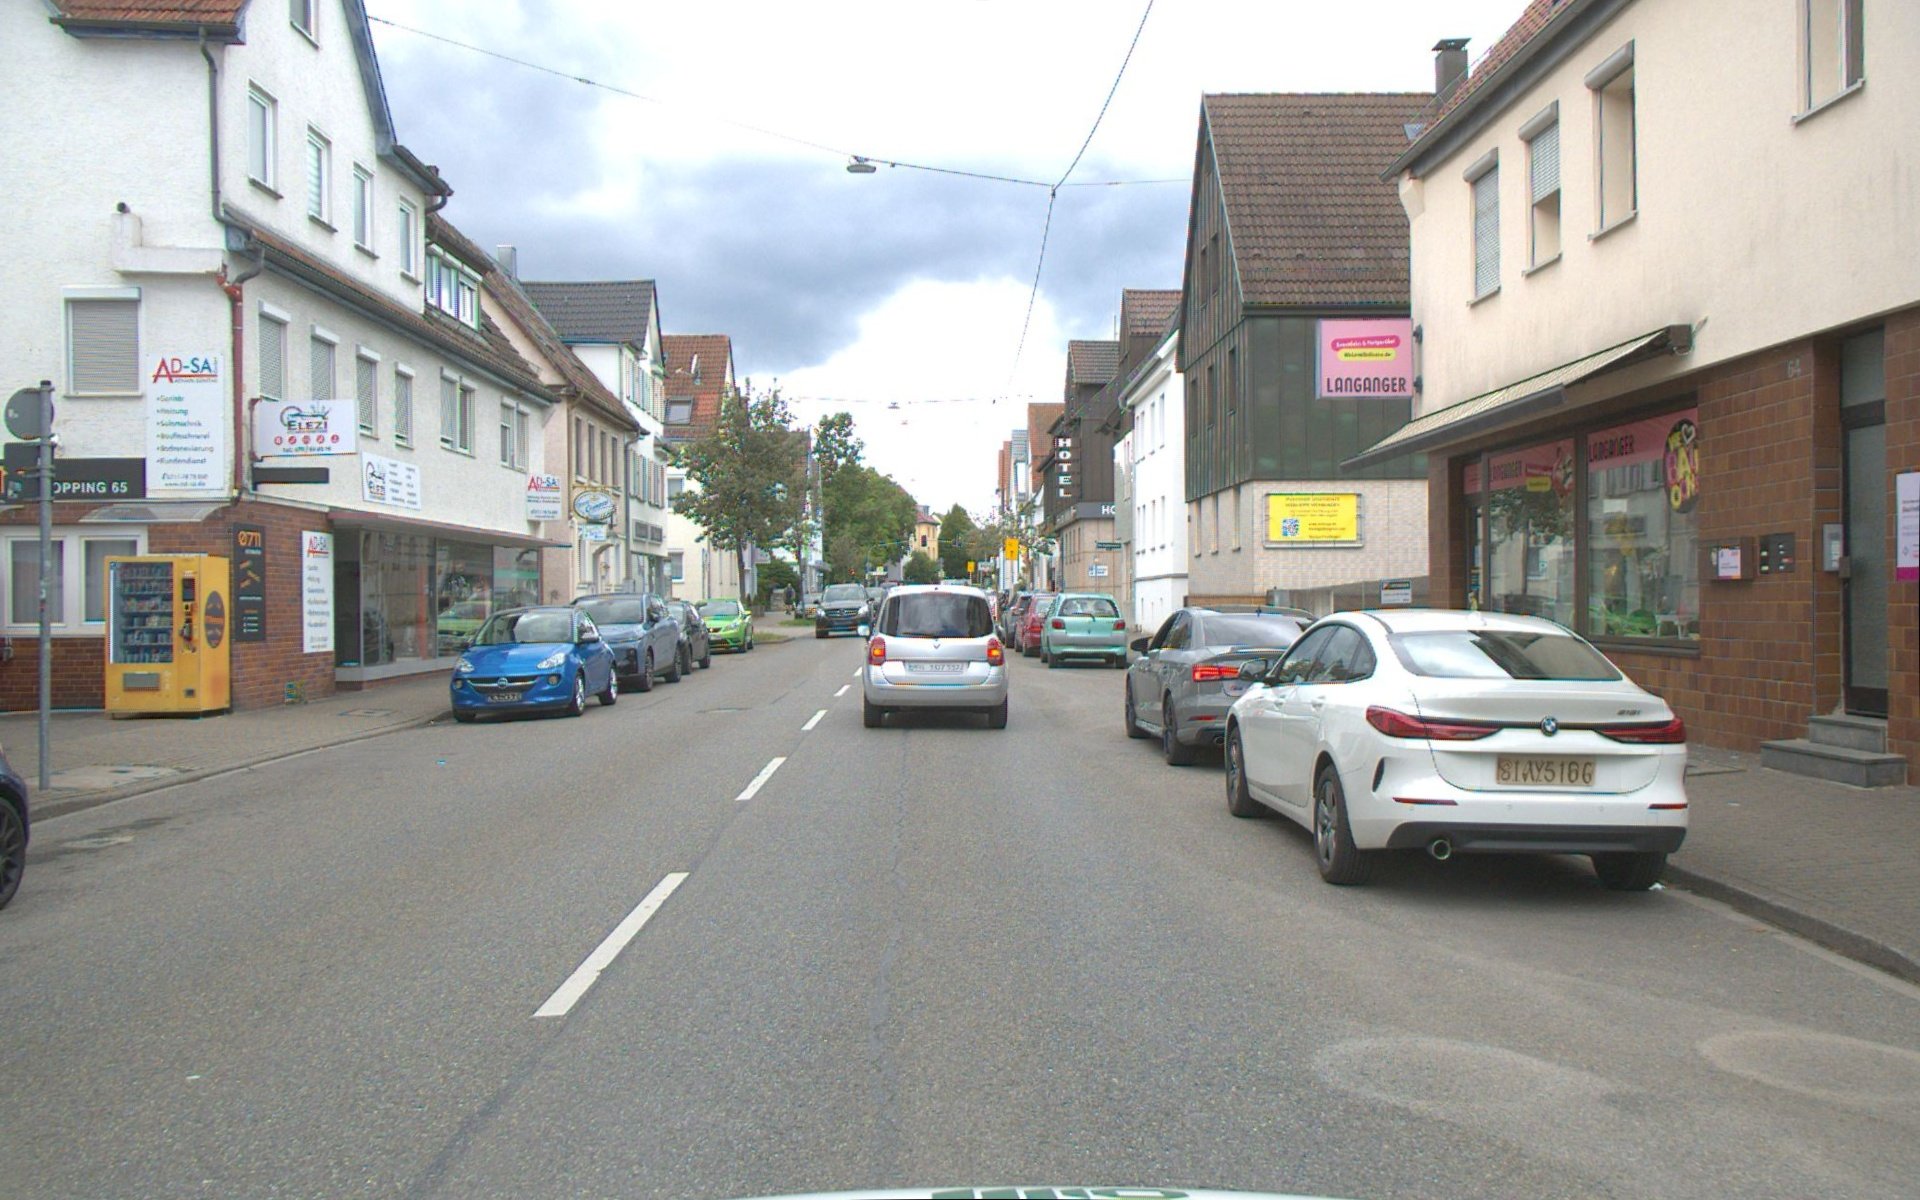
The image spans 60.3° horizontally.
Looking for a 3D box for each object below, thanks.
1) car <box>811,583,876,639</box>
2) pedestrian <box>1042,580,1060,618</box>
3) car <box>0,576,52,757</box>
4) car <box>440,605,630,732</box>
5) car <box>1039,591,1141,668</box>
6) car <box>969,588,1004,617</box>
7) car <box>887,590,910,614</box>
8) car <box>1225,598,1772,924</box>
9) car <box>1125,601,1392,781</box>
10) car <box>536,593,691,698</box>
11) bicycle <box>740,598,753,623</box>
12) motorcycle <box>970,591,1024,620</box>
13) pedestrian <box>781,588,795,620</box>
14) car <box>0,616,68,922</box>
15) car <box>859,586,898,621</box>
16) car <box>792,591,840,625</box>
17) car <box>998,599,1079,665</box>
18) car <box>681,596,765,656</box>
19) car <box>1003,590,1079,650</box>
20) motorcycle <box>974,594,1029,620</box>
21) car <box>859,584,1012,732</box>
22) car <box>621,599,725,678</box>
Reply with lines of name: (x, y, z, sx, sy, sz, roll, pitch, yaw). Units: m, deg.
car: (-3.949, 0.349, 56.586, 1.862, 1.767, 4.365, -2, 0, 0)
pedestrian: (4.672, -0.048, 85.101, 0.839, 1.961, 0.899, 0, 0, -1)
car: (-11.126, 0.627, 15.771, 3.902, 1.732, 2.002, 0, 0, 8)
car: (-5.832, 0.886, 23.121, 1.648, 1.525, 3.774, -2, 0, 0)
car: (2.686, 0.579, 34.855, 1.794, 1.524, 3.993, 1, 0, 0)
car: (1.372, 0.131, 87.746, 1.666, 1.492, 4.237, 0, 0, -2)
car: (-5.408, 0.166, 145.228, 1.913, 2.049, 3.999, 0, 0, -1)
car: (2.830, 0.741, 9.784, 1.794, 1.471, 4.331, 1, 0, 0)
car: (2.712, 0.761, 15.914, 1.794, 1.471, 4.109, 1, 0, 0)
car: (-5.943, 0.722, 28.873, 1.766, 1.627, 4.304, -2, 0, 0)
bicycle: (-9.826, 0.475, 76.161, 0.504, 1.174, 1.665, 0, 0, -4)
motorcycle: (1.775, 0.263, 79.794, 2.680, 1.359, 0.692, 0, 0, -32)
pedestrian: (-9.888, 0.224, 95.015, 0.747, 1.822, 0.889, 0, 0, -1)
car: (-5.631, 0.886, 7.078, 1.648, 1.519, 3.591, -2, 0, 0)
car: (-4.008, 0.165, 81.878, 1.758, 1.606, 4.191, -3, 0, -1)
car: (-6.923, 0.356, 79.778, 1.909, 1.493, 4.515, -3, 0, -1)
car: (1.846, 0.721, 39.955, 1.719, 1.471, 4.454, 1, 0, 0)
car: (-6.334, 0.664, 44.546, 1.648, 1.473, 4.020, -2, 0, 0)
car: (2.190, 0.523, 45.678, 1.837, 1.566, 4.512, 0, 0, -1)
motorcycle: (1.967, 0.345, 78.753, 2.701, 1.204, 0.692, 0, 0, -32)
car: (-0.276, 0.618, 19.882, 1.648, 1.593, 3.993, 1, 0, 0)
car: (-5.934, 0.759, 34.562, 1.549, 1.534, 3.812, 0, 0, -1)
